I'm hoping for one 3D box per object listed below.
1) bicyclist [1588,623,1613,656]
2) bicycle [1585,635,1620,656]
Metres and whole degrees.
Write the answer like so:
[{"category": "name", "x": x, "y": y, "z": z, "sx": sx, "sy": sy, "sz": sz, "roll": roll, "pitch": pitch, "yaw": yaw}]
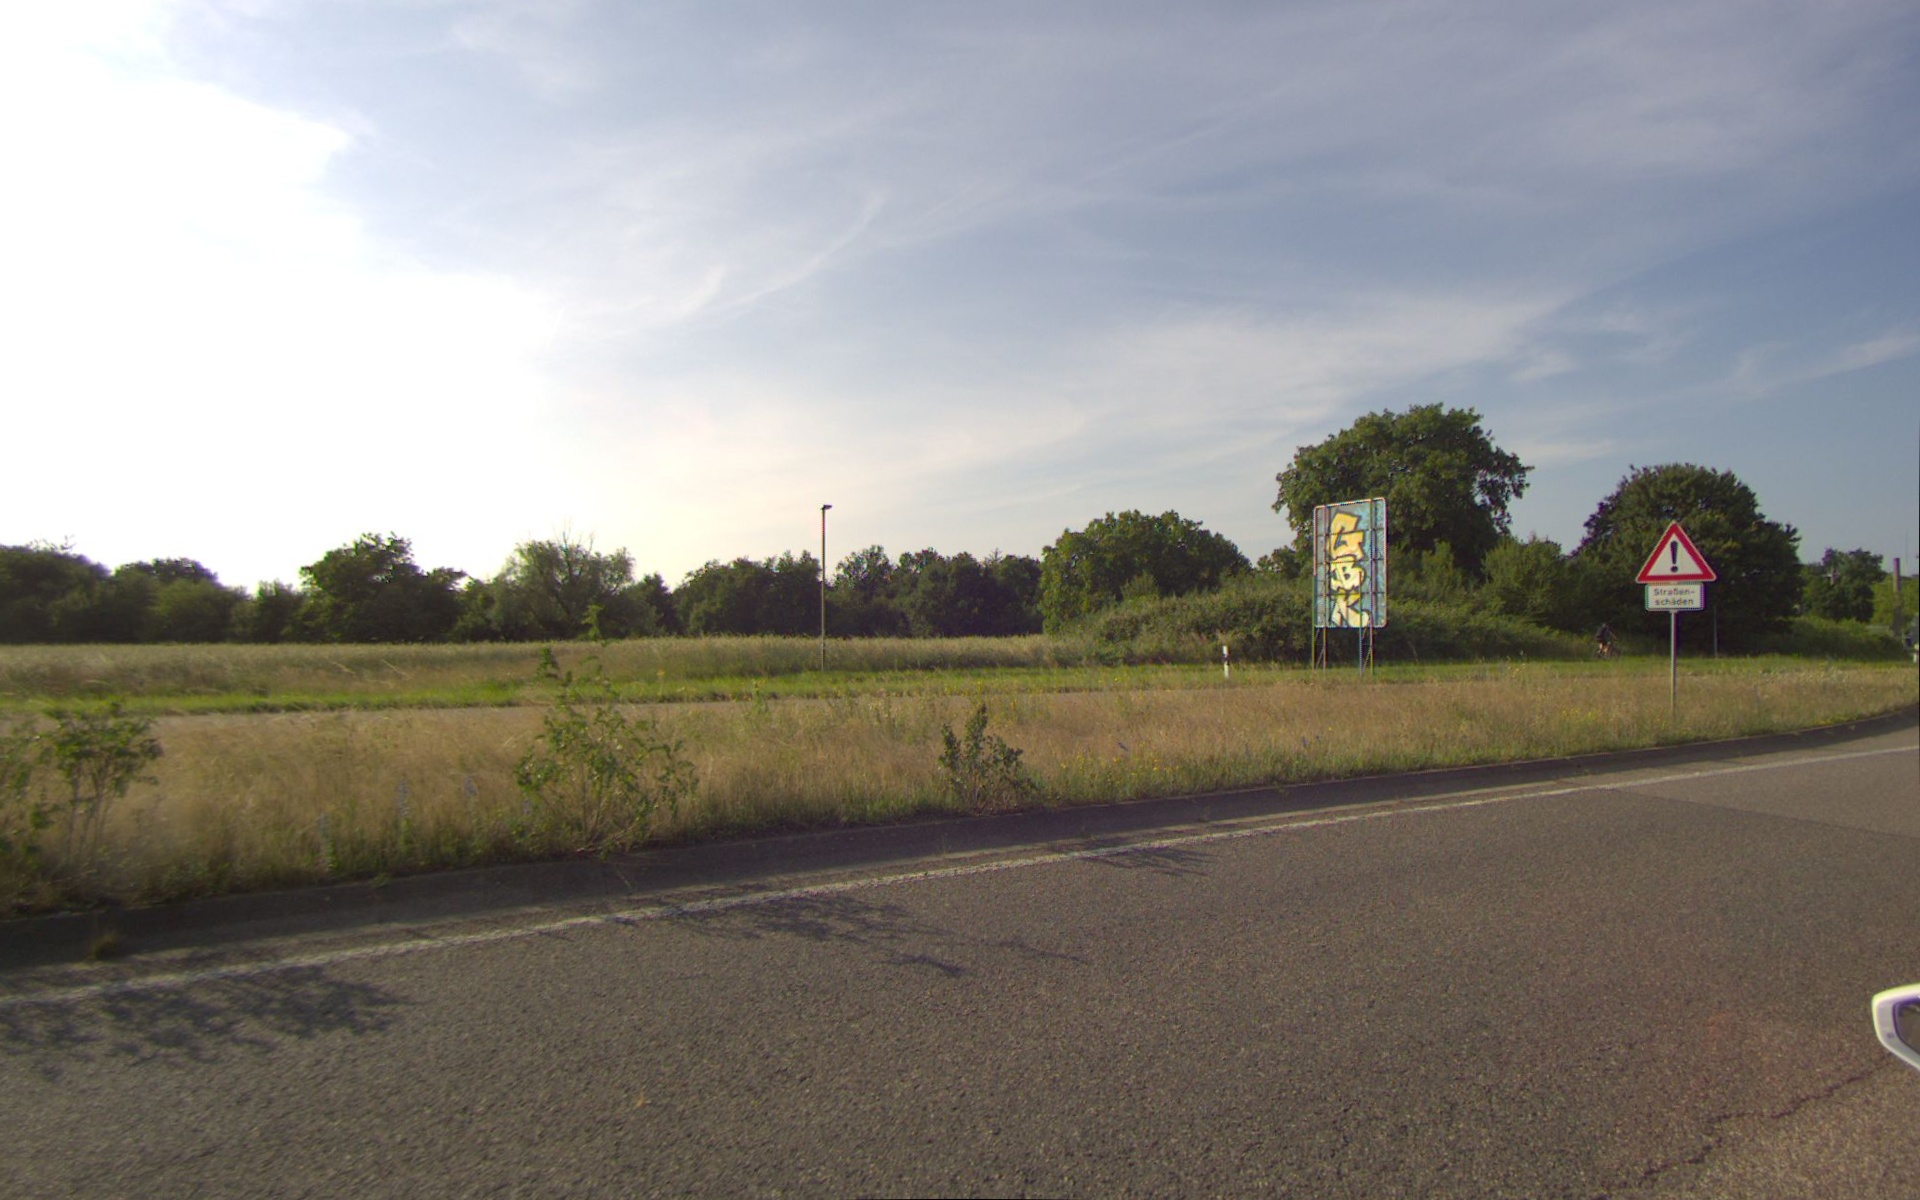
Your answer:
[{"category": "bicyclist", "x": 27.483, "y": 1.680, "z": 43.072, "sx": 1.035, "sy": 1.408, "sz": 0.465, "roll": 1, "pitch": -1, "yaw": -29}, {"category": "bicycle", "x": 27.593, "y": 1.937, "z": 43.133, "sx": 1.684, "sy": 0.890, "sz": 0.527, "roll": 1, "pitch": -1, "yaw": -29}]
